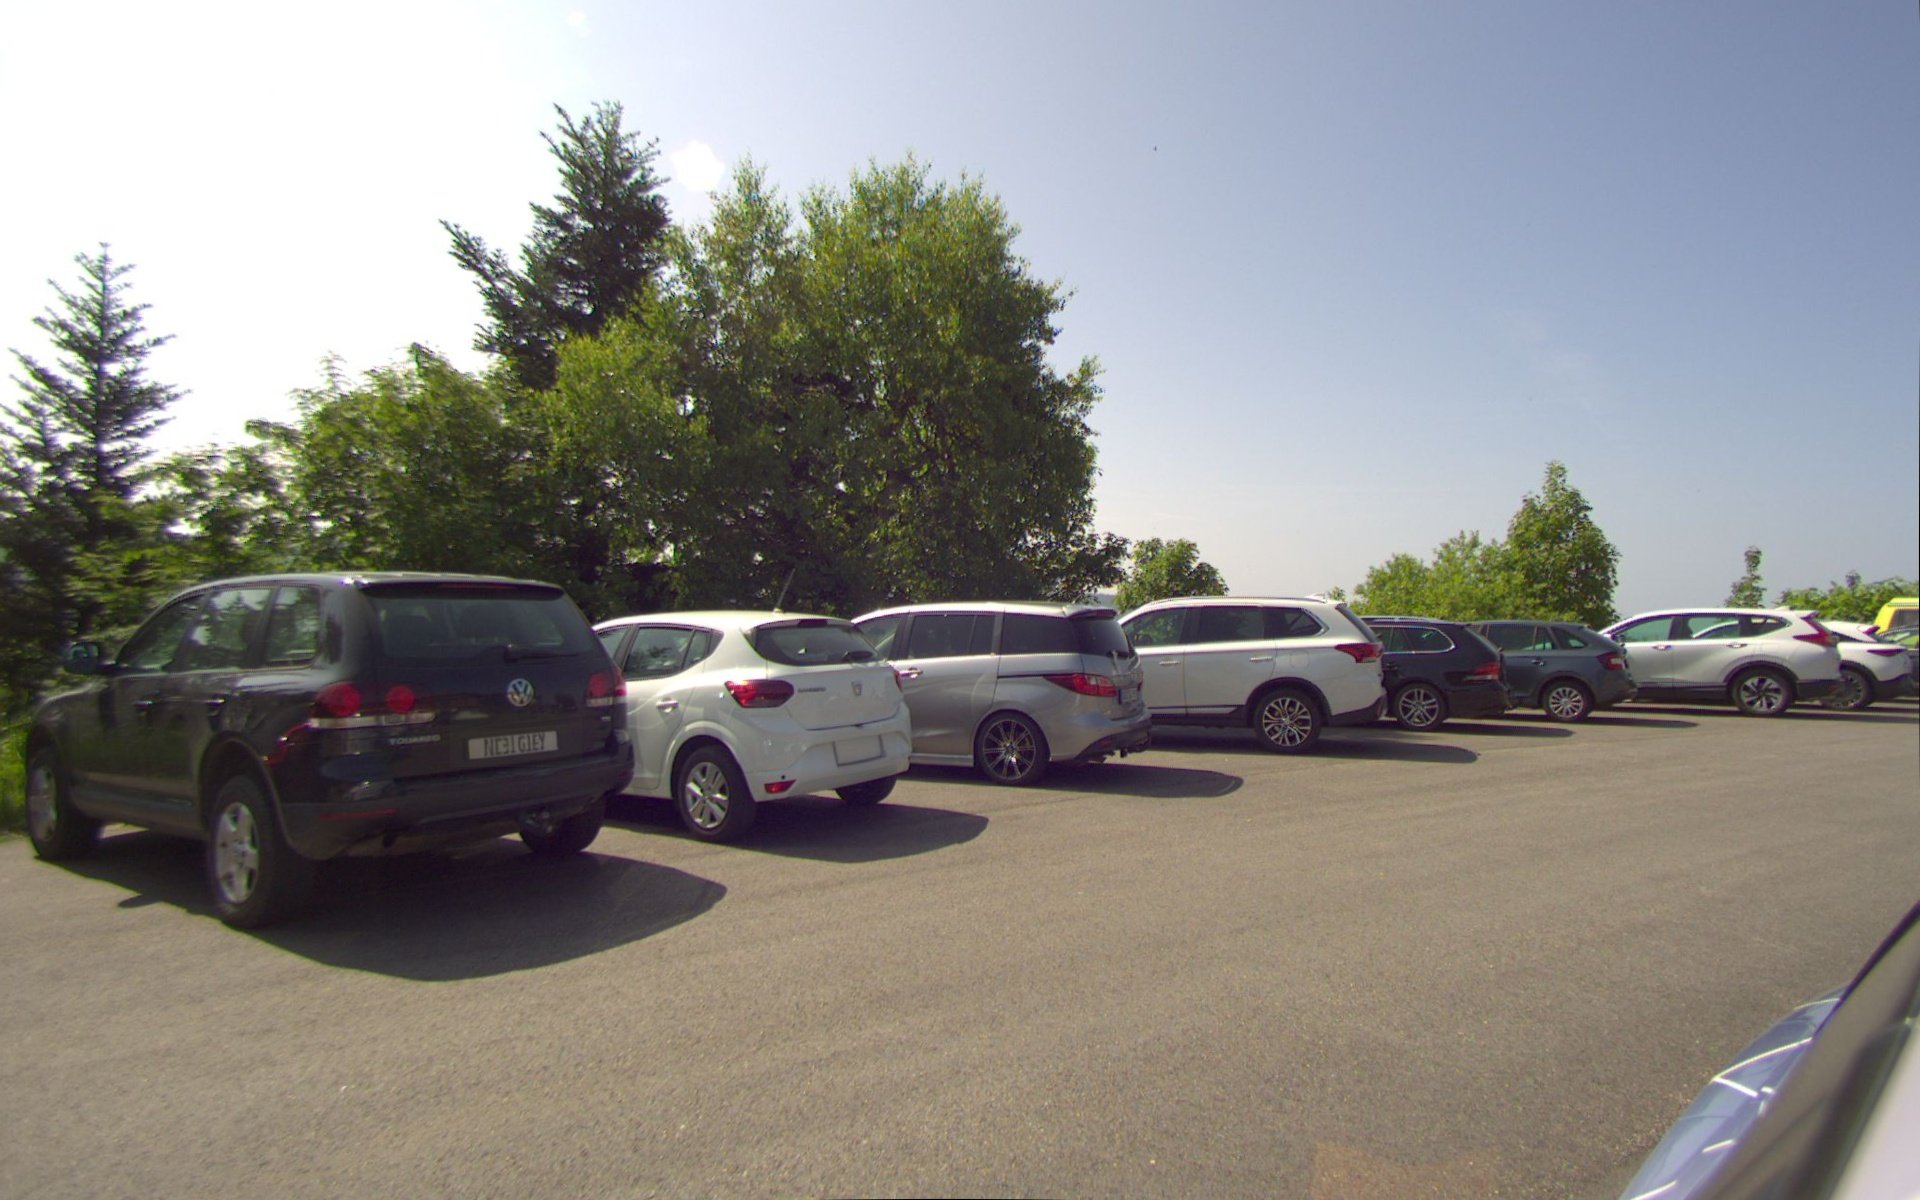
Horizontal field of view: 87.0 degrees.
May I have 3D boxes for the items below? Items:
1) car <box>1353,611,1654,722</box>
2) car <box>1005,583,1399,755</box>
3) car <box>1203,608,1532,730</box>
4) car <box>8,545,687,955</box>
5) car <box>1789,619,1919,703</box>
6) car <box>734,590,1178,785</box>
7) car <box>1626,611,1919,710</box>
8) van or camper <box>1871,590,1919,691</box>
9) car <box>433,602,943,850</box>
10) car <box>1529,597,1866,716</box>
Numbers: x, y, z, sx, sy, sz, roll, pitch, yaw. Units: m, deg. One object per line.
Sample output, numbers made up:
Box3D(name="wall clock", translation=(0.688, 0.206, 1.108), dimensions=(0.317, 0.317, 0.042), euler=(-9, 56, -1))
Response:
Box3D(name="car", translation=(8.123, 0.945, 15.264), dimensions=(3.783, 1.478, 1.640), euler=(-2, -3, 37))
Box3D(name="car", translation=(2.785, 0.726, 11.803), dimensions=(4.177, 1.716, 1.849), euler=(-1, -2, 22))
Box3D(name="car", translation=(5.644, 0.900, 14.134), dimensions=(4.018, 1.480, 1.874), euler=(-2, -2, 31))
Box3D(name="car", translation=(-3.889, 0.695, 6.252), dimensions=(4.241, 1.717, 1.967), euler=(-2, -2, 33))
Box3D(name="car", translation=(18.058, 1.112, 18.301), dimensions=(1.775, 1.507, 4.368), euler=(2, -3, -28))
Box3D(name="car", translation=(-0.063, 0.769, 9.858), dimensions=(3.960, 1.569, 1.803), euler=(-2, -2, 27))
Box3D(name="car", translation=(14.304, 0.964, 17.717), dimensions=(1.911, 1.519, 4.090), euler=(1, -1, -43))
Box3D(name="van or camper", translation=(20.900, 0.782, 19.121), dimensions=(1.843, 2.040, 5.113), euler=(2, -3, -26))
Box3D(name="car", translation=(-2.255, 0.811, 7.980), dimensions=(3.972, 1.495, 1.746), euler=(-2, -1, 35))
Box3D(name="car", translation=(11.742, 0.865, 16.350), dimensions=(4.164, 1.671, 1.864), euler=(-2, -2, 40))
